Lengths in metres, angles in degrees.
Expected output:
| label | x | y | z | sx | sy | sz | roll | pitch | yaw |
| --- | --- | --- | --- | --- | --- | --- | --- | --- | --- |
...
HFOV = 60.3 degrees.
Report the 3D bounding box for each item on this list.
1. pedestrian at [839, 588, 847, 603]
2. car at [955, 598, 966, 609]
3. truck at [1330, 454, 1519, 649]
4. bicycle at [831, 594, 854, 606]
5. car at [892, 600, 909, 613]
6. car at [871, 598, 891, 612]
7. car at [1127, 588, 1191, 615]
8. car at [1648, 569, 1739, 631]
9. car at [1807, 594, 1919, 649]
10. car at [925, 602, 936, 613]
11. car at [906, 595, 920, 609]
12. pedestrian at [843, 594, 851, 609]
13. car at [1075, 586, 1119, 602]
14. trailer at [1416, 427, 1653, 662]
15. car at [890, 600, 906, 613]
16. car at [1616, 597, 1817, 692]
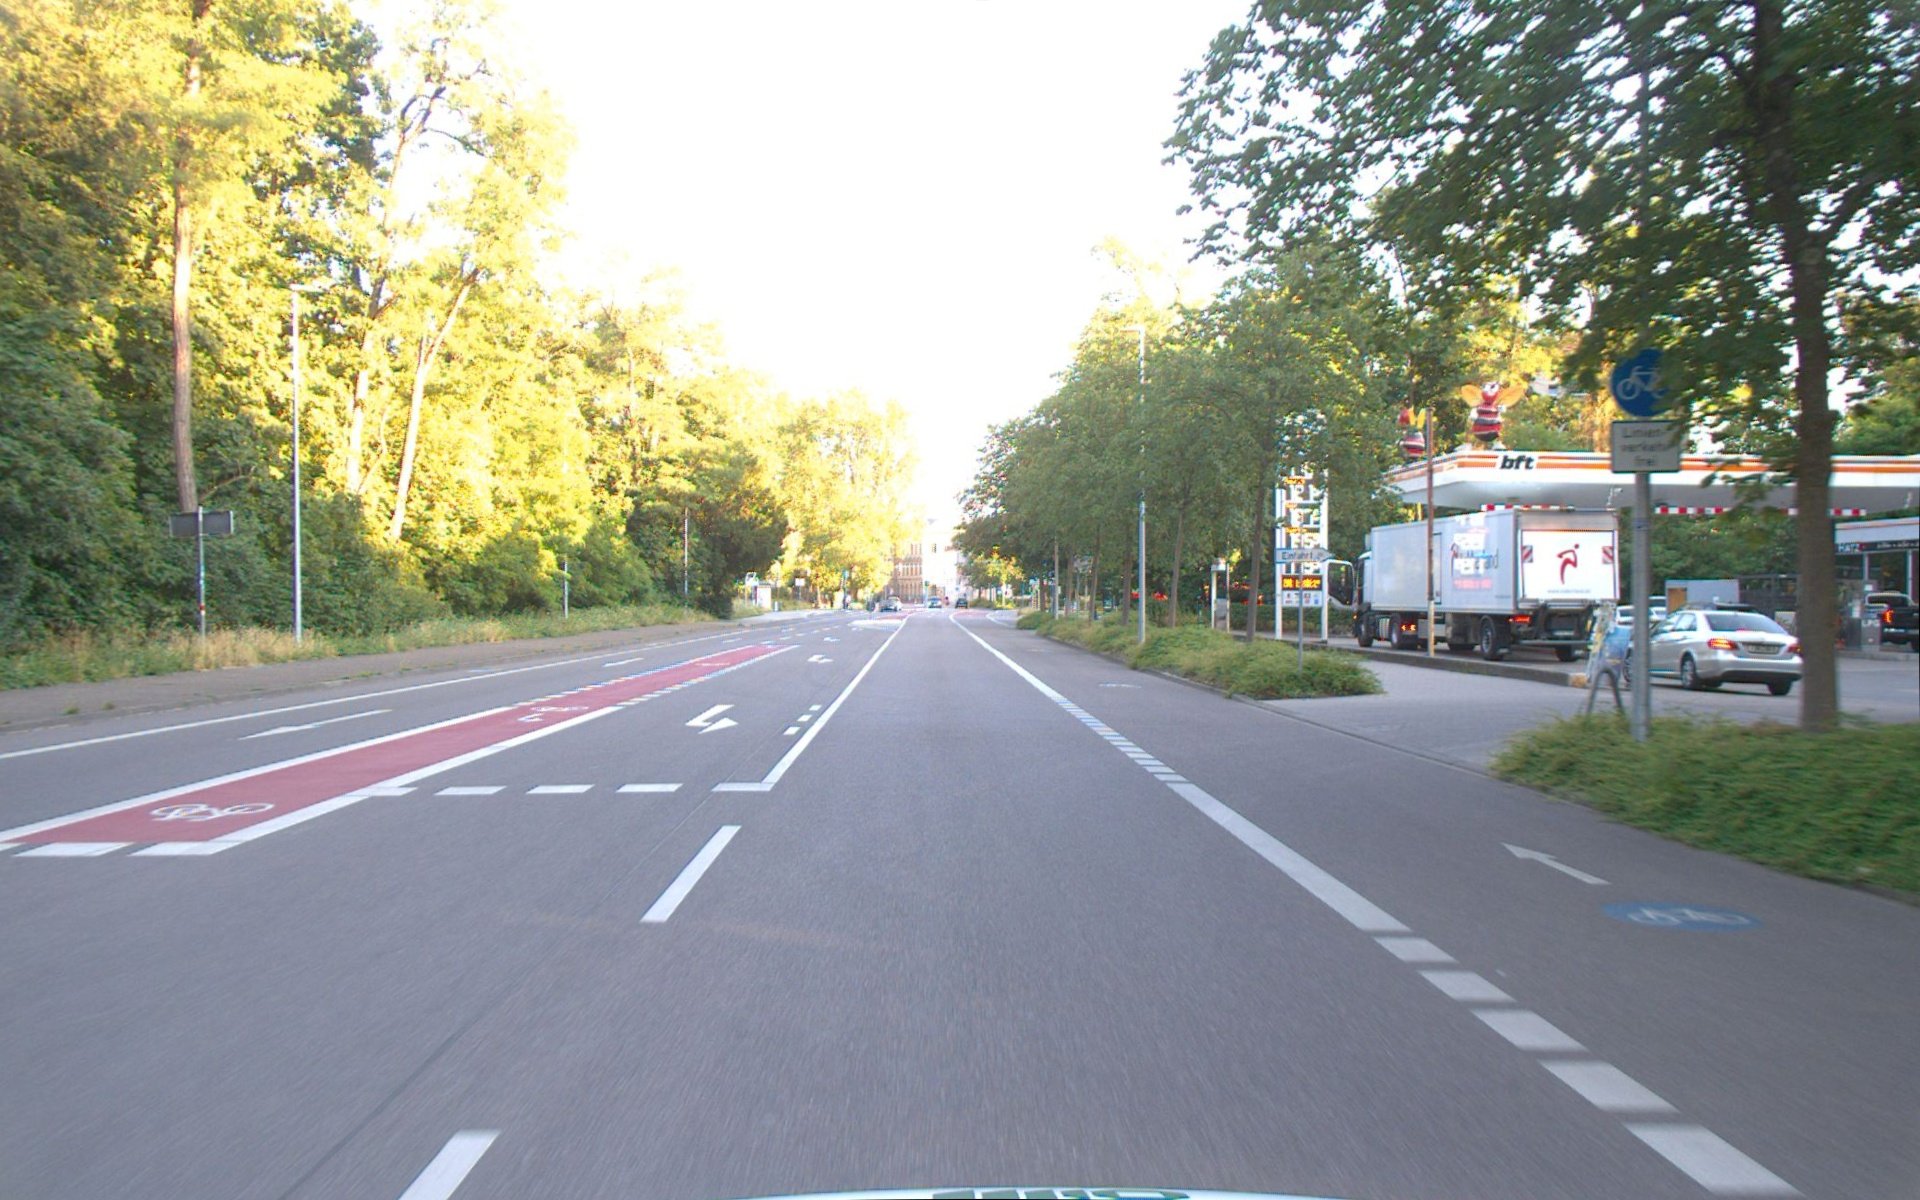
| label | x | y | z | sx | sy | sz | roll | pitch | yaw |
| --- | --- | --- | --- | --- | --- | --- | --- | --- | --- |
| pedestrian | -12.812 | -0.493 | 181.018 | 0.774 | 1.608 | 0.746 | 2 | 0 | 8 |
| car | 0.104 | 0.496 | 232.577 | 1.462 | 1.512 | 3.490 | 0 | 0 | 0 |
| truck | 14.200 | -1.406 | 51.389 | 2.973 | 5.551 | 8.403 | 0 | 0 | -4 |
| bicycle | -12.853 | -0.001 | 181.047 | 2.410 | 1.216 | 0.757 | 0 | 0 | 8 |
| car | -6.879 | 0.766 | 190.944 | 1.760 | 1.478 | 4.128 | 0 | 0 | 1 |
| car | -8.274 | 0.544 | 172.988 | 1.760 | 1.478 | 4.128 | 0 | 0 | 1 |
| car | 15.319 | 0.138 | 127.393 | 4.806 | 2.024 | 1.923 | 0 | 0 | 6 |
| car | 29.799 | 0.007 | 67.350 | 1.733 | 2.388 | 4.623 | 2 | 0 | 2 |
| car | 28.463 | 0.642 | 51.449 | 1.946 | 1.611 | 4.623 | 2 | 0 | 2 |
| car | -4.121 | 1.002 | 227.856 | 1.462 | 1.512 | 3.490 | 0 | 0 | 0 |
| car | -5.216 | 0.253 | 182.250 | 1.462 | 1.512 | 3.490 | 0 | 0 | 0 |
| pedestrian | -12.853 | 0.189 | 187.896 | 0.774 | 1.608 | 0.746 | 2 | 0 | 8 |
| car | 13.616 | -0.584 | 164.291 | 4.364 | 1.618 | 1.716 | 0 | 0 | 6 |
| trailer | 14.751 | -1.344 | 43.267 | 2.961 | 5.557 | 7.928 | 0 | 0 | -4 |
| car | -6.471 | 0.709 | 172.752 | 1.462 | 1.314 | 3.490 | 0 | 0 | 0 |
| car | 14.198 | 0.775 | 31.365 | 1.733 | 1.611 | 4.820 | 2 | 0 | 2 |
